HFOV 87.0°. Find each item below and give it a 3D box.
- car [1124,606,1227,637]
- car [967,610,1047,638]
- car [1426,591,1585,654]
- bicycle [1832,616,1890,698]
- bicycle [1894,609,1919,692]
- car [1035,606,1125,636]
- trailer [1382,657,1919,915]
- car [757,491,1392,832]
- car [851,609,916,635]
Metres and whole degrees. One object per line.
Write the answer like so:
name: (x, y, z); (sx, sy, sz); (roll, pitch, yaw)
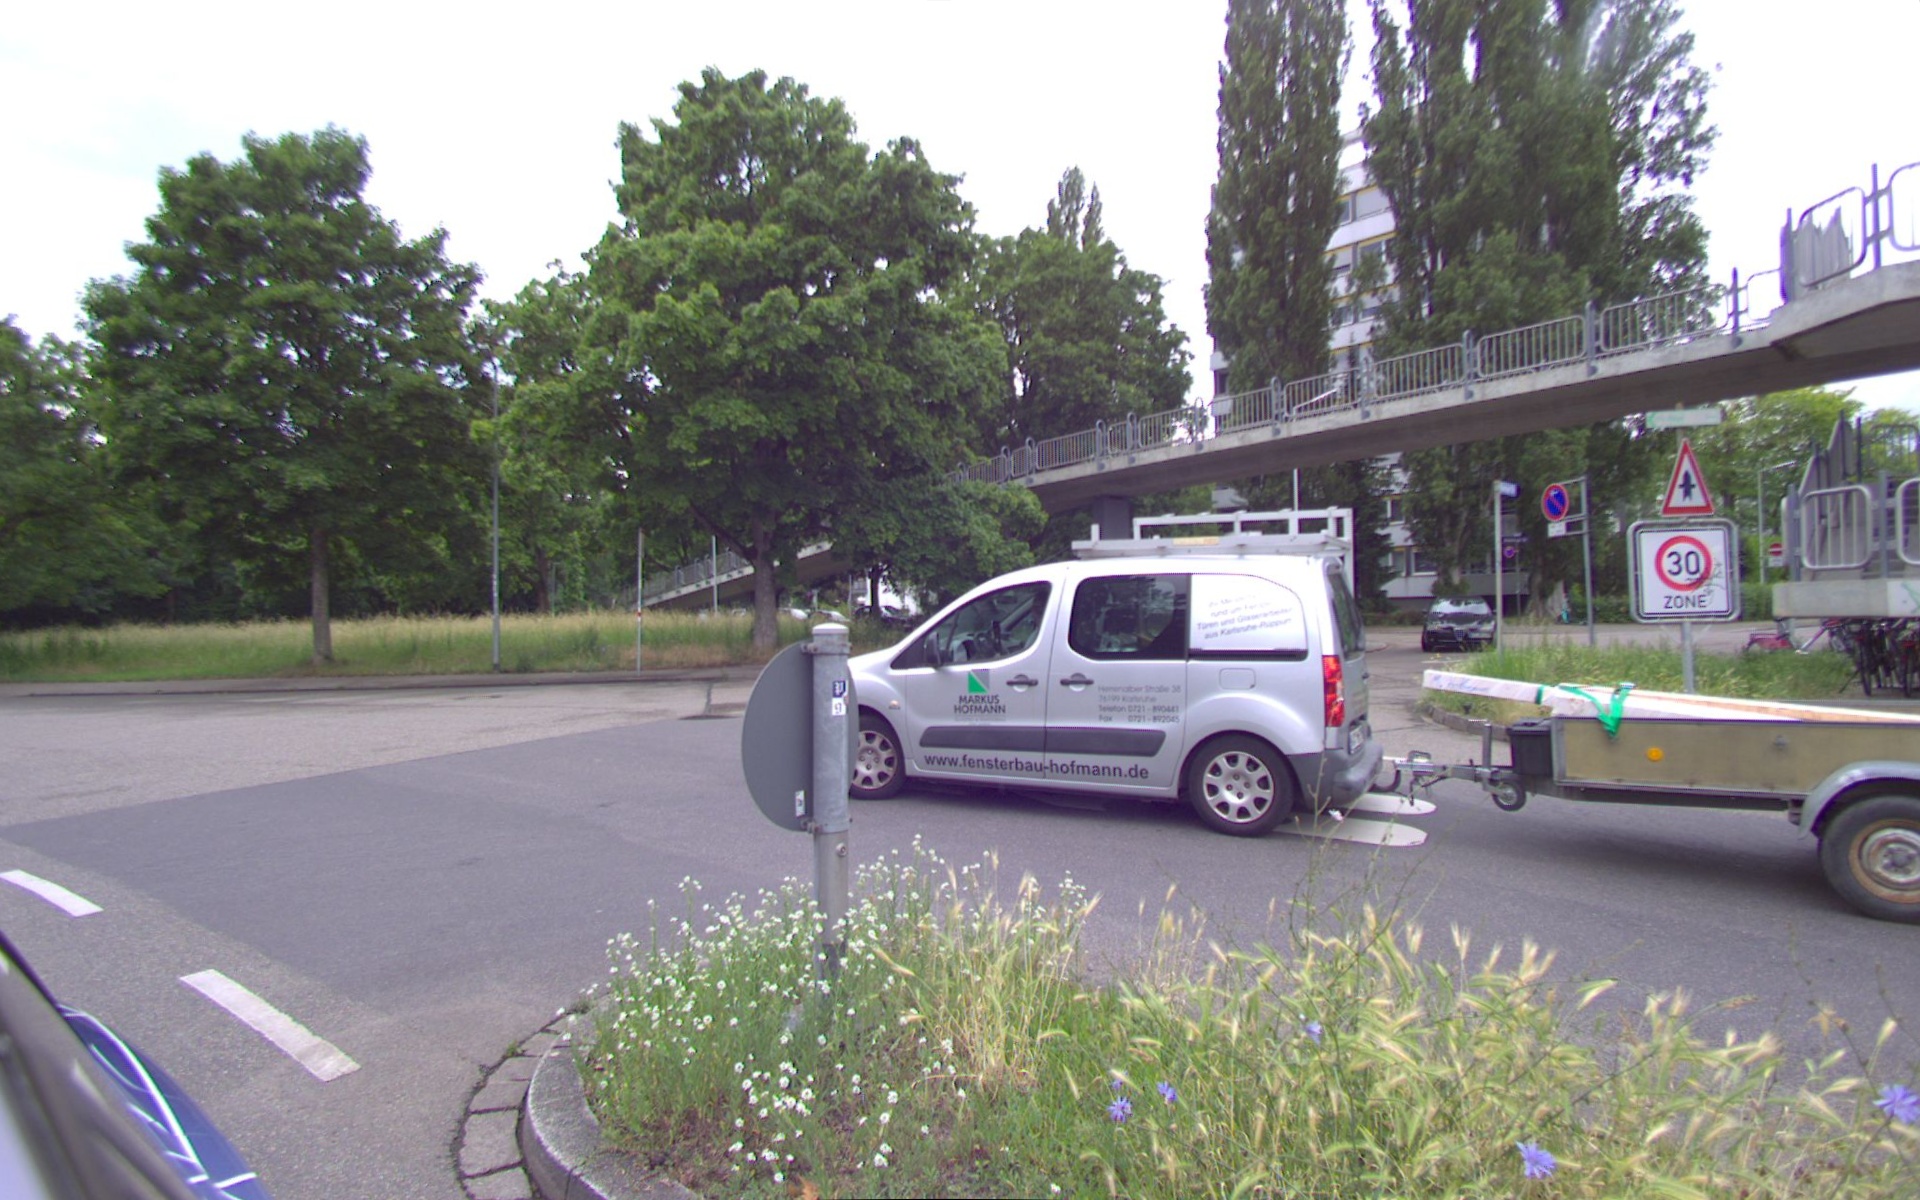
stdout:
car: (8.875, 0.885, 41.940); (1.667, 1.214, 4.007); (-1, 0, -39)
car: (2.275, 1.178, 49.885); (1.667, 1.247, 4.007); (-1, 0, -39)
car: (14.138, 0.540, 26.137); (4.466, 1.468, 1.808); (-1, 0, -35)
bicycle: (10.875, 0.664, 12.203); (1.618, 0.892, 0.395); (-1, -1, -44)
bicycle: (11.124, 0.557, 11.686); (1.618, 0.892, 0.395); (-1, -1, -44)
car: (5.425, 0.945, 46.172); (1.667, 1.256, 4.007); (-1, 0, -39)
trailer: (4.216, 0.859, 5.252); (3.459, 0.993, 1.552); (-2, 0, 37)
car: (0.814, 0.353, 7.490); (4.203, 1.871, 2.075); (-1, 0, 29)
car: (-4.393, 1.248, 57.456); (1.667, 1.361, 4.007); (-1, 0, -39)
